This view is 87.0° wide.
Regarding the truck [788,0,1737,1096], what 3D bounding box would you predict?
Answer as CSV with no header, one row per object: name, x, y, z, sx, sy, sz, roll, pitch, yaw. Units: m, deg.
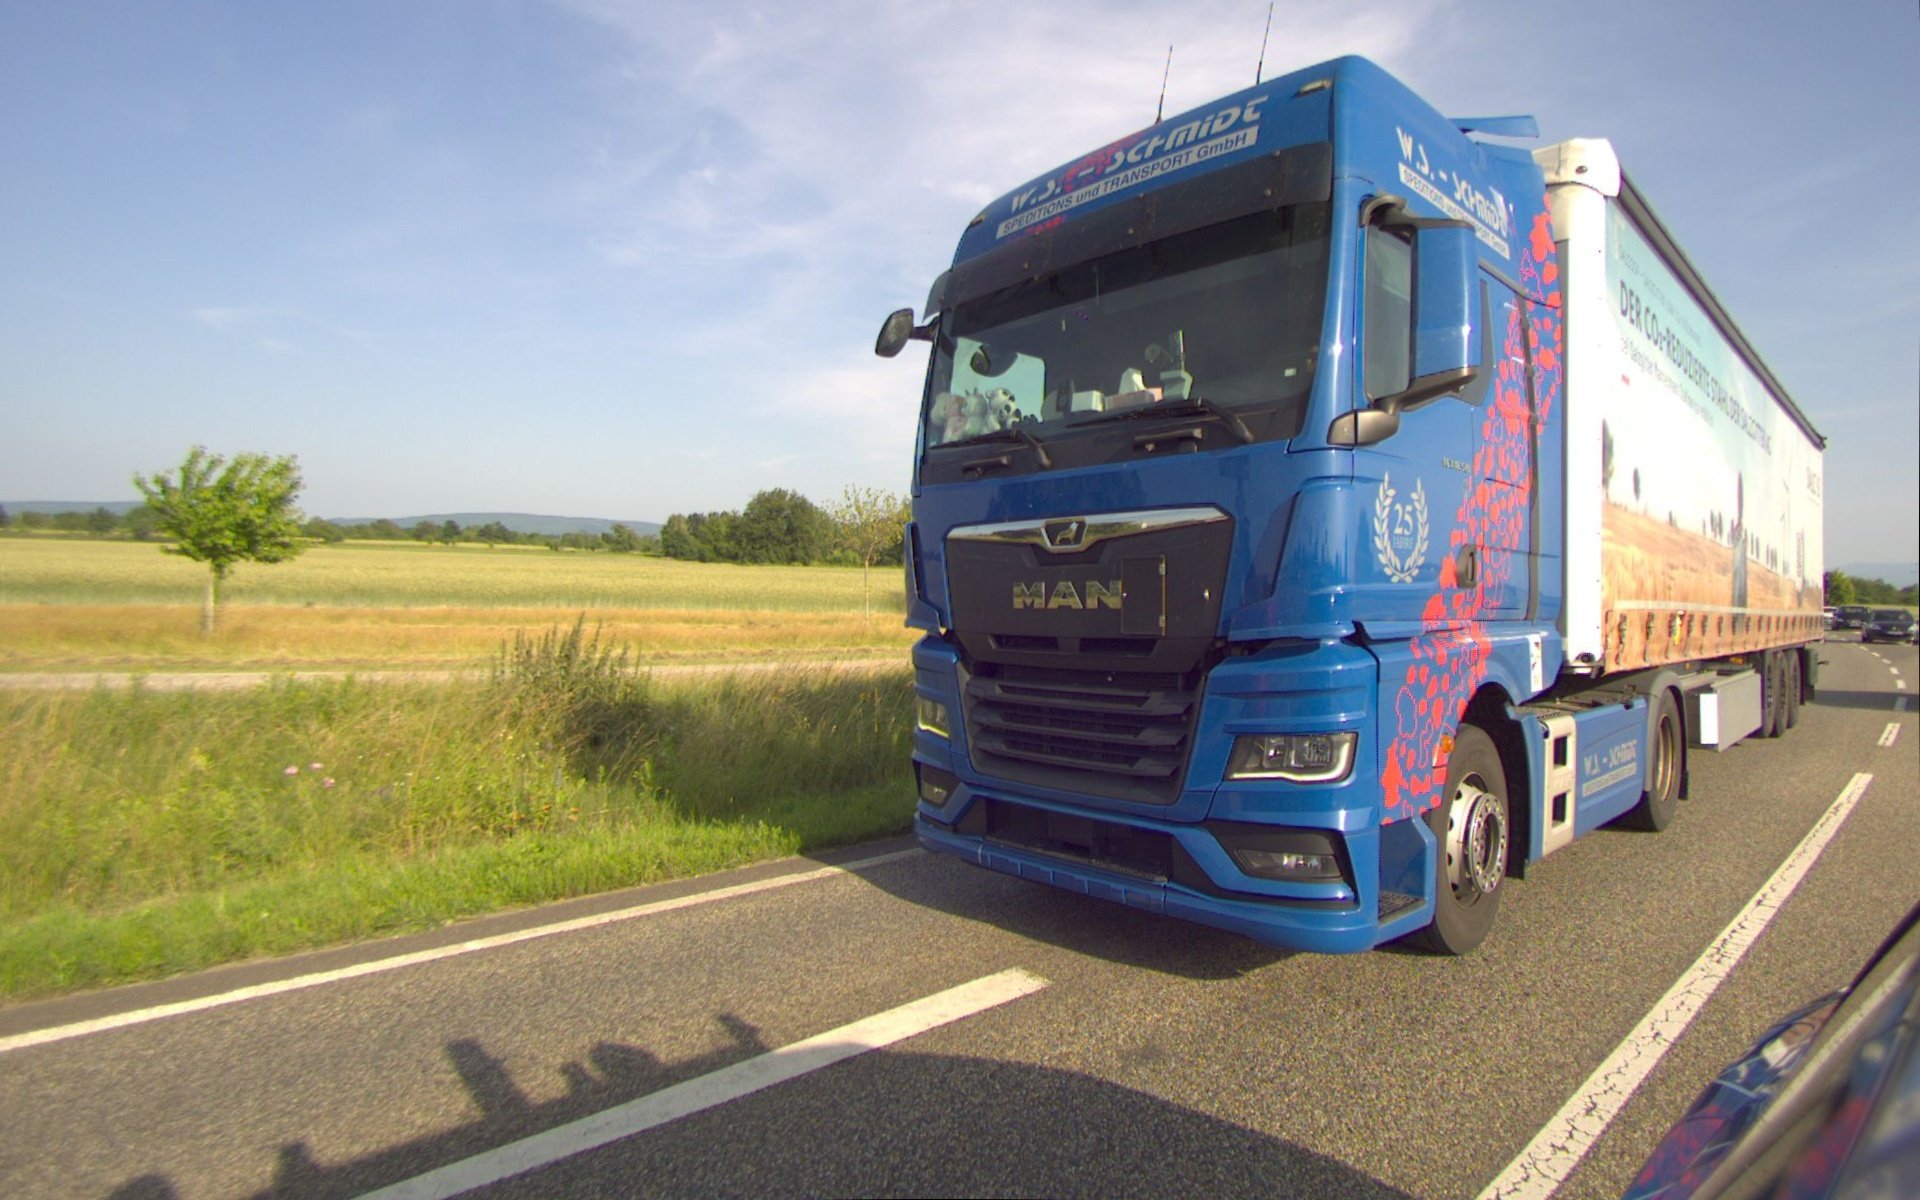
truck,2.233,-0.895,6.221,5.638,4.716,3.302,0,0,-45

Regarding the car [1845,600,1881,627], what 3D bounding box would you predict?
car,55.544,0.805,62.284,1.552,1.579,3.004,2,1,40

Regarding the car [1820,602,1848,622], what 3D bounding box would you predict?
car,65.366,0.859,75.707,1.551,1.417,3.976,2,1,40

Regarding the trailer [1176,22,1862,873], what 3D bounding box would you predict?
trailer,7.437,-0.885,11.390,12.933,4.740,3.283,0,0,-45

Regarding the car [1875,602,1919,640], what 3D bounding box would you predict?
car,40.359,0.861,43.359,1.579,1.523,3.607,2,1,40
